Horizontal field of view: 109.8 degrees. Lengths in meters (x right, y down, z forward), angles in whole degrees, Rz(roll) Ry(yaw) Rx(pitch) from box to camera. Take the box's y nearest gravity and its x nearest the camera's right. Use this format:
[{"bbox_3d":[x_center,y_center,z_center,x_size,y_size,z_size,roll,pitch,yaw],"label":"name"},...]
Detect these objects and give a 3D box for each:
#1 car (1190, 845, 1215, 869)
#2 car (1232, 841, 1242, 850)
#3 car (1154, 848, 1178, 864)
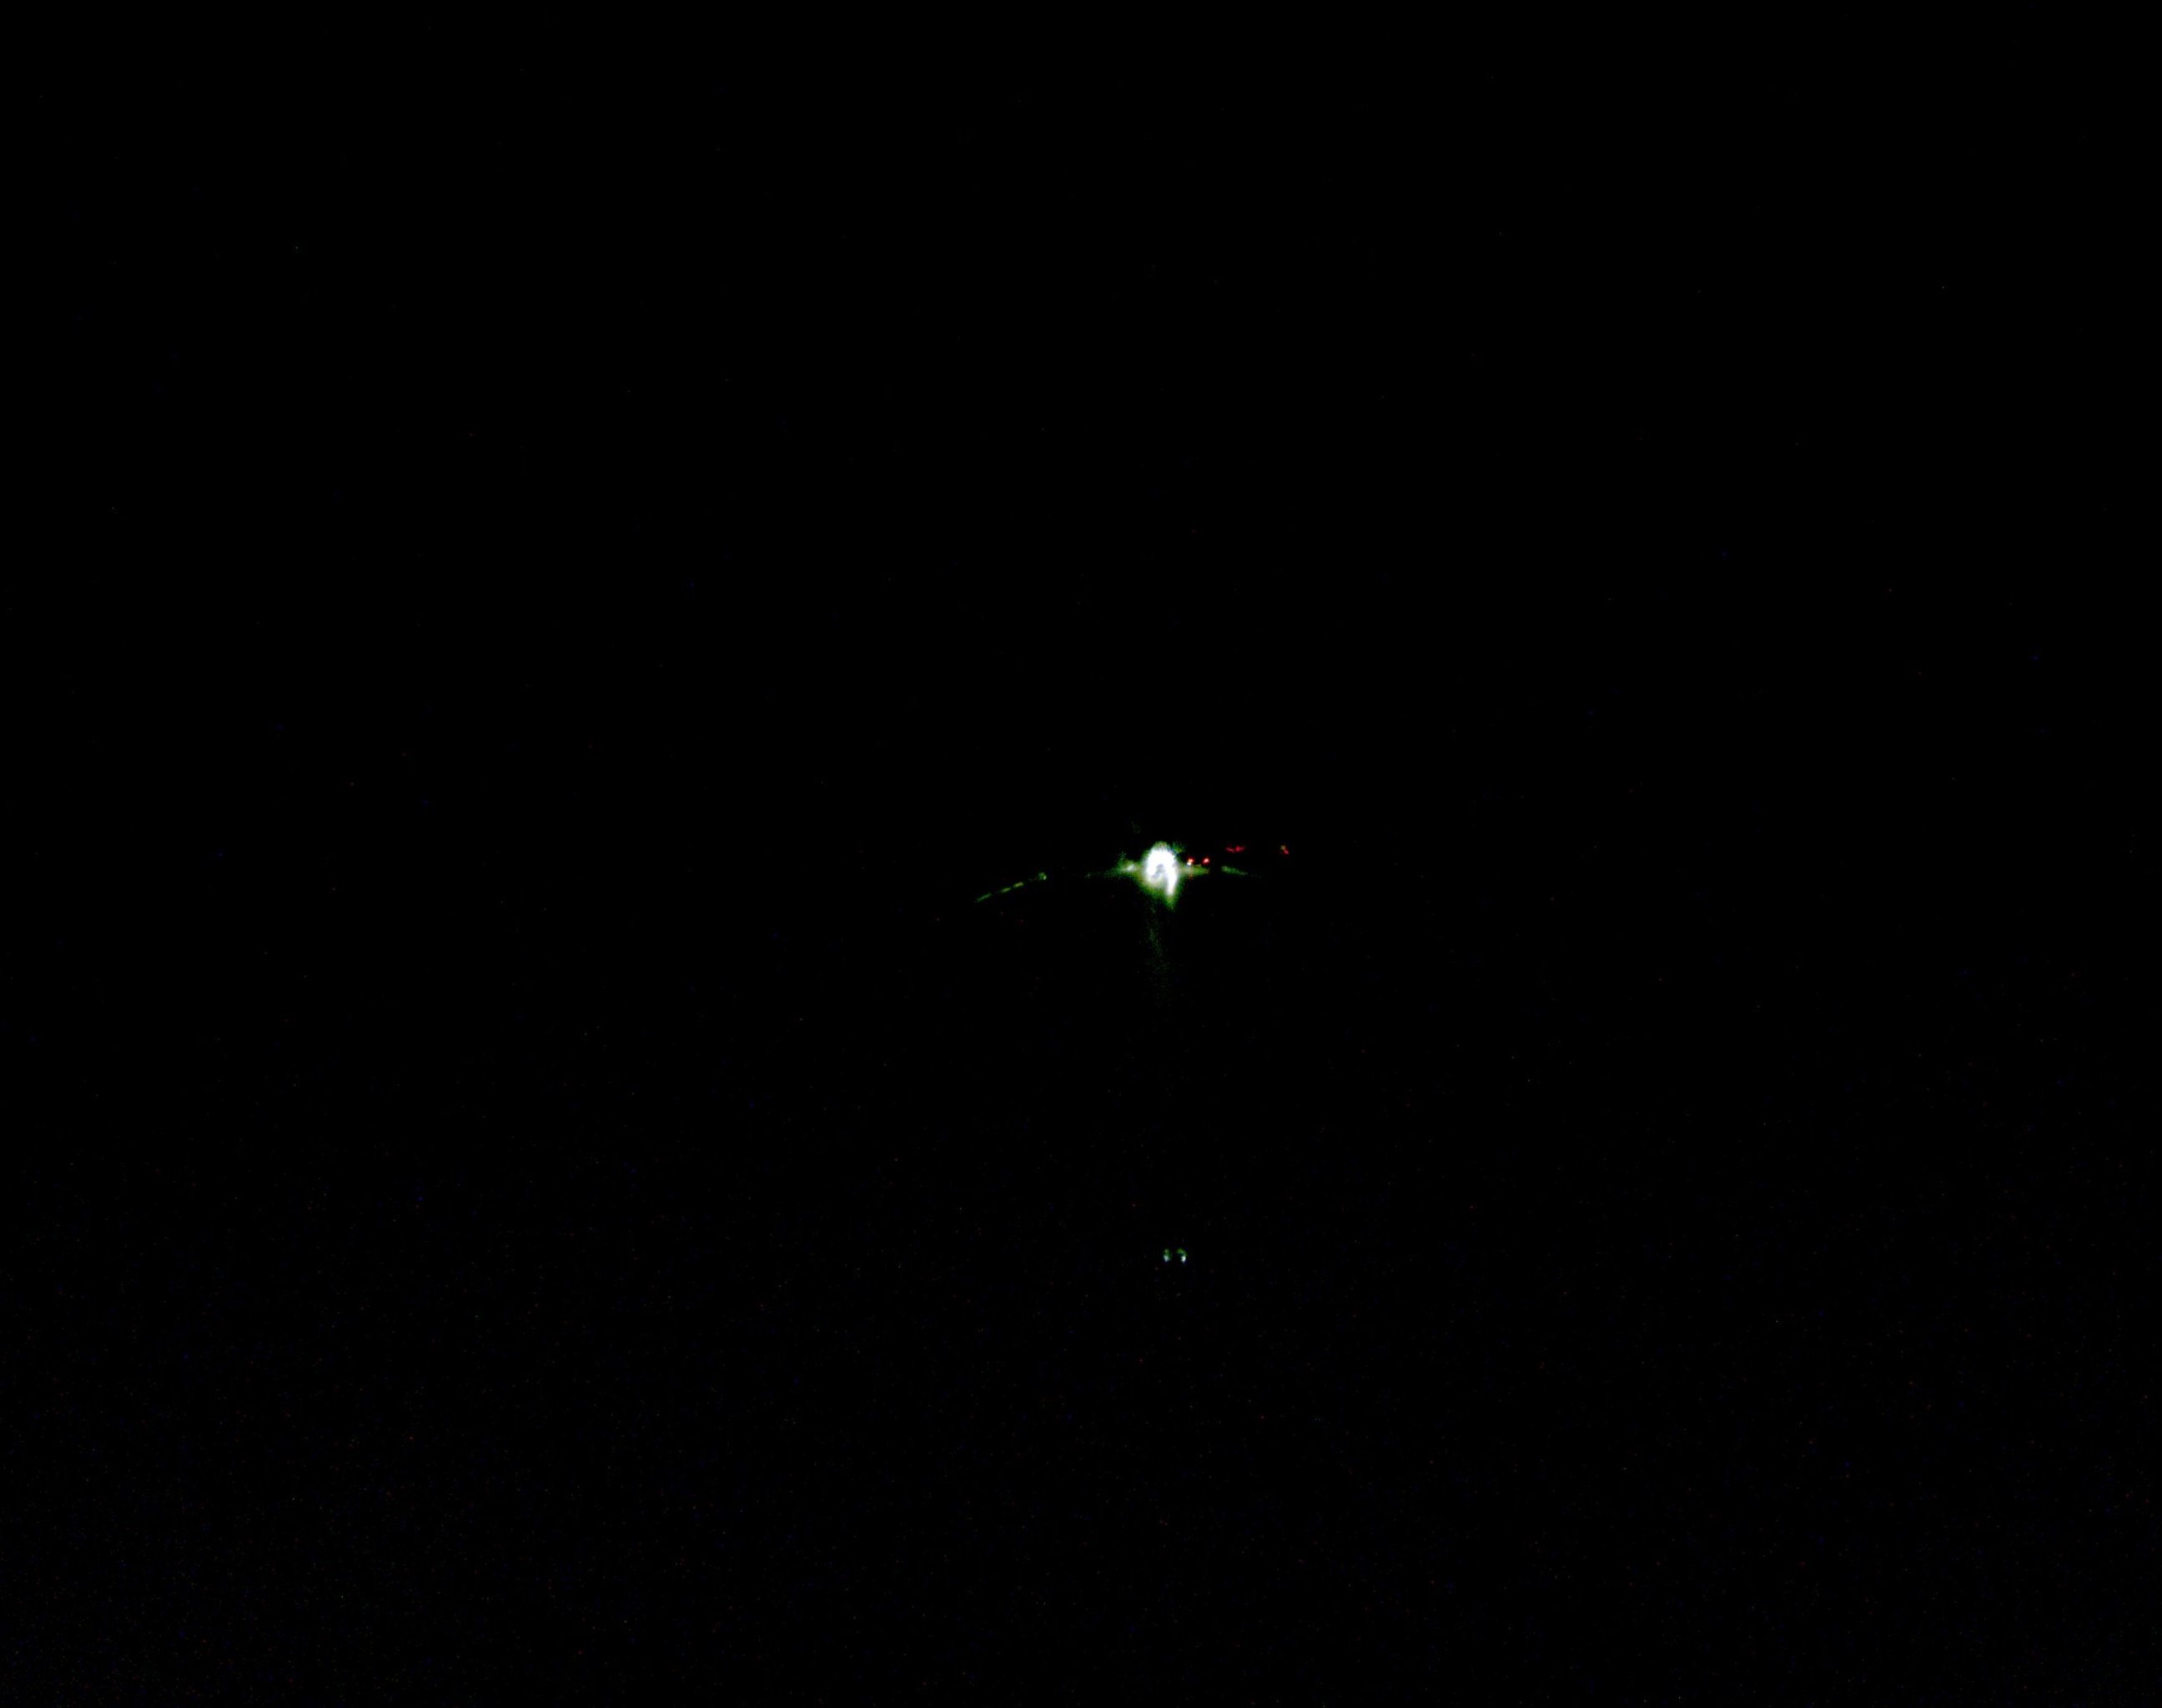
[{"bbox_3d":[10.838,0.264,67.526,1.997,1.915,4.003,-2,1,12],"label":"car"},{"bbox_3d":[32.314,-1.865,157.620,1.997,1.740,4.261,-2,1,12],"label":"car"},{"bbox_3d":[8.485,0.155,75.698,1.805,1.452,4.279,-3,1,14],"label":"car"}]
